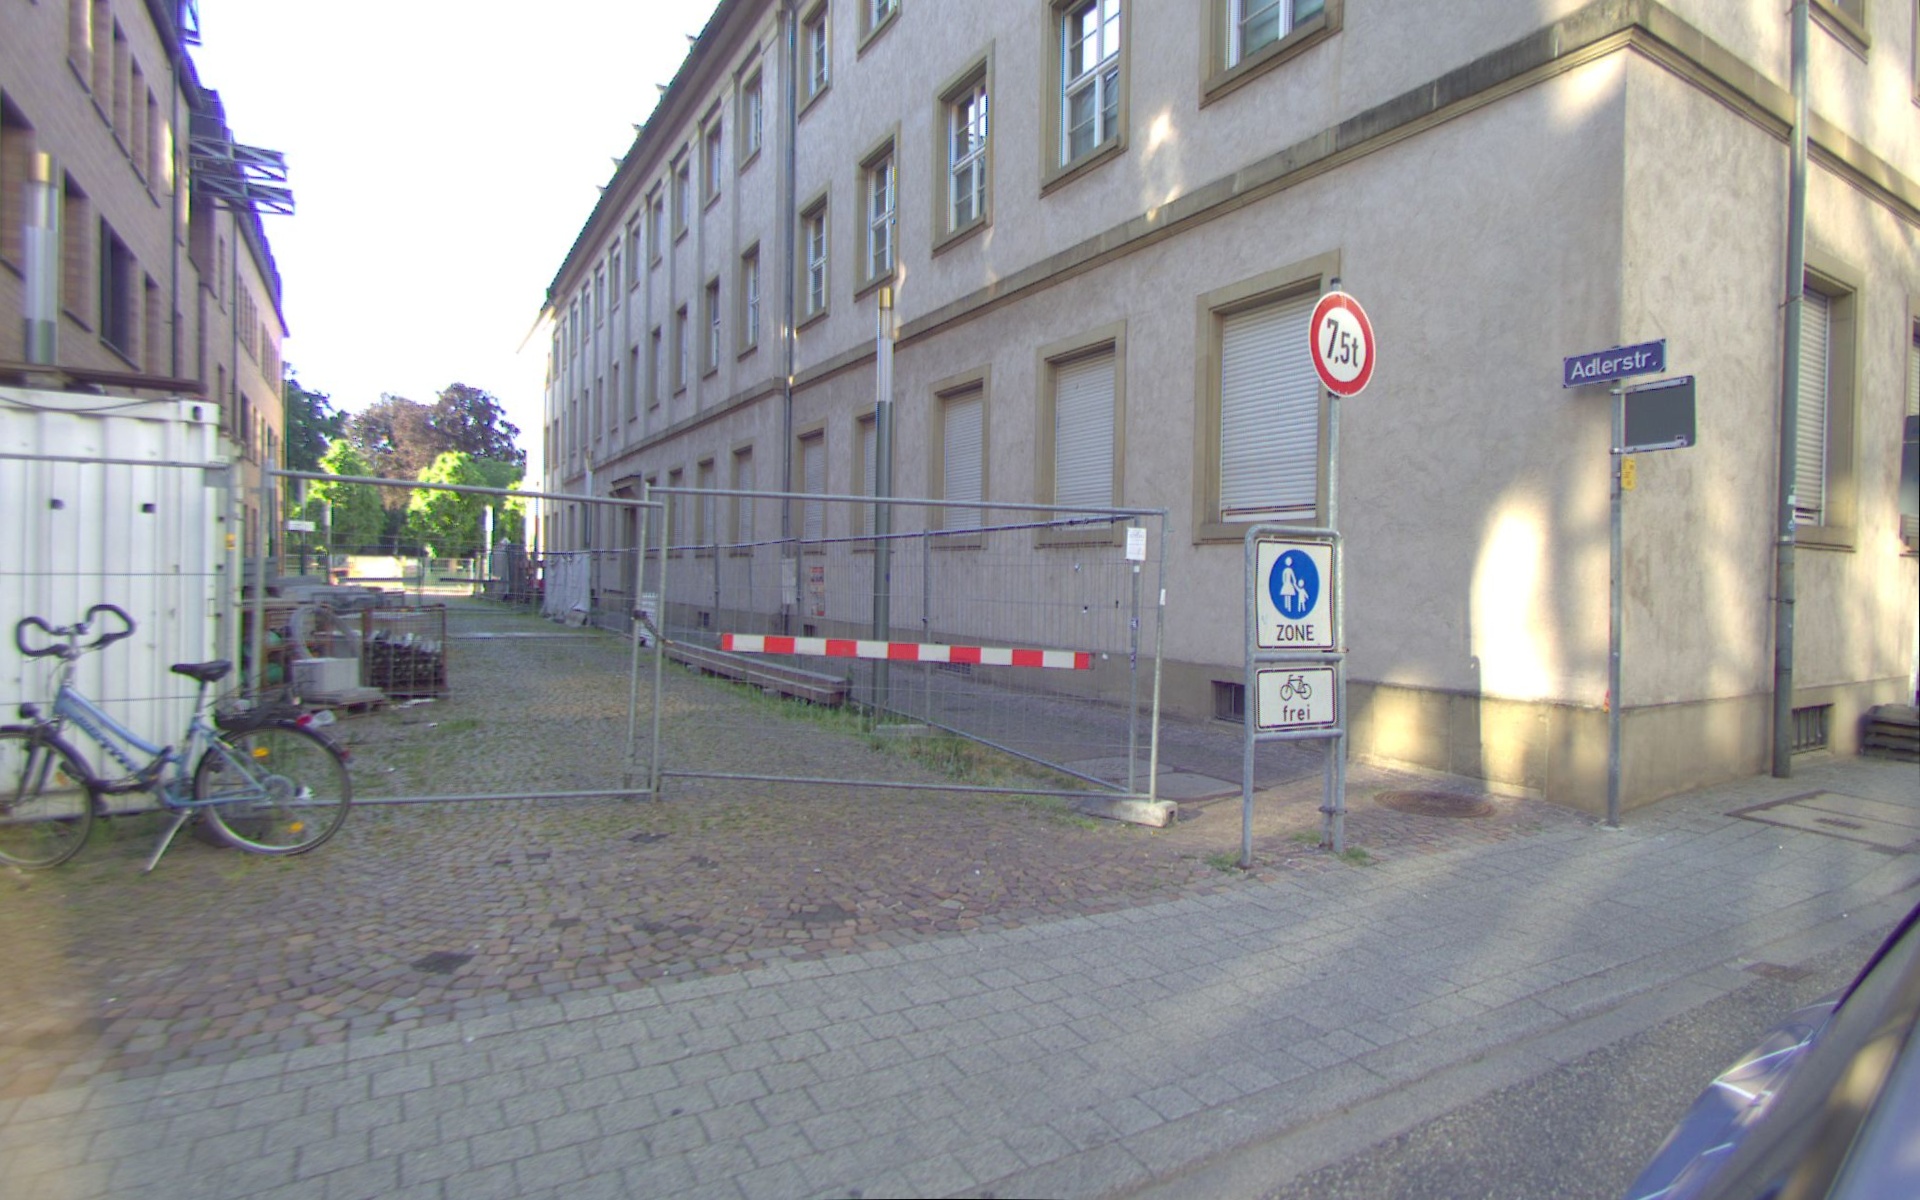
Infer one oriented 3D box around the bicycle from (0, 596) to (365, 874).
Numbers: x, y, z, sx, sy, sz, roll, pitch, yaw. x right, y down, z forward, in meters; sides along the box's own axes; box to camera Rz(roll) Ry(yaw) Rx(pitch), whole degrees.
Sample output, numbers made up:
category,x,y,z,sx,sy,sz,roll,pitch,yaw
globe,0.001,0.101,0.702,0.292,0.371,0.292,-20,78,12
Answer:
category,x,y,z,sx,sy,sz,roll,pitch,yaw
bicycle,-3.813,0.625,4.921,1.549,1.265,0.321,1,1,-12
